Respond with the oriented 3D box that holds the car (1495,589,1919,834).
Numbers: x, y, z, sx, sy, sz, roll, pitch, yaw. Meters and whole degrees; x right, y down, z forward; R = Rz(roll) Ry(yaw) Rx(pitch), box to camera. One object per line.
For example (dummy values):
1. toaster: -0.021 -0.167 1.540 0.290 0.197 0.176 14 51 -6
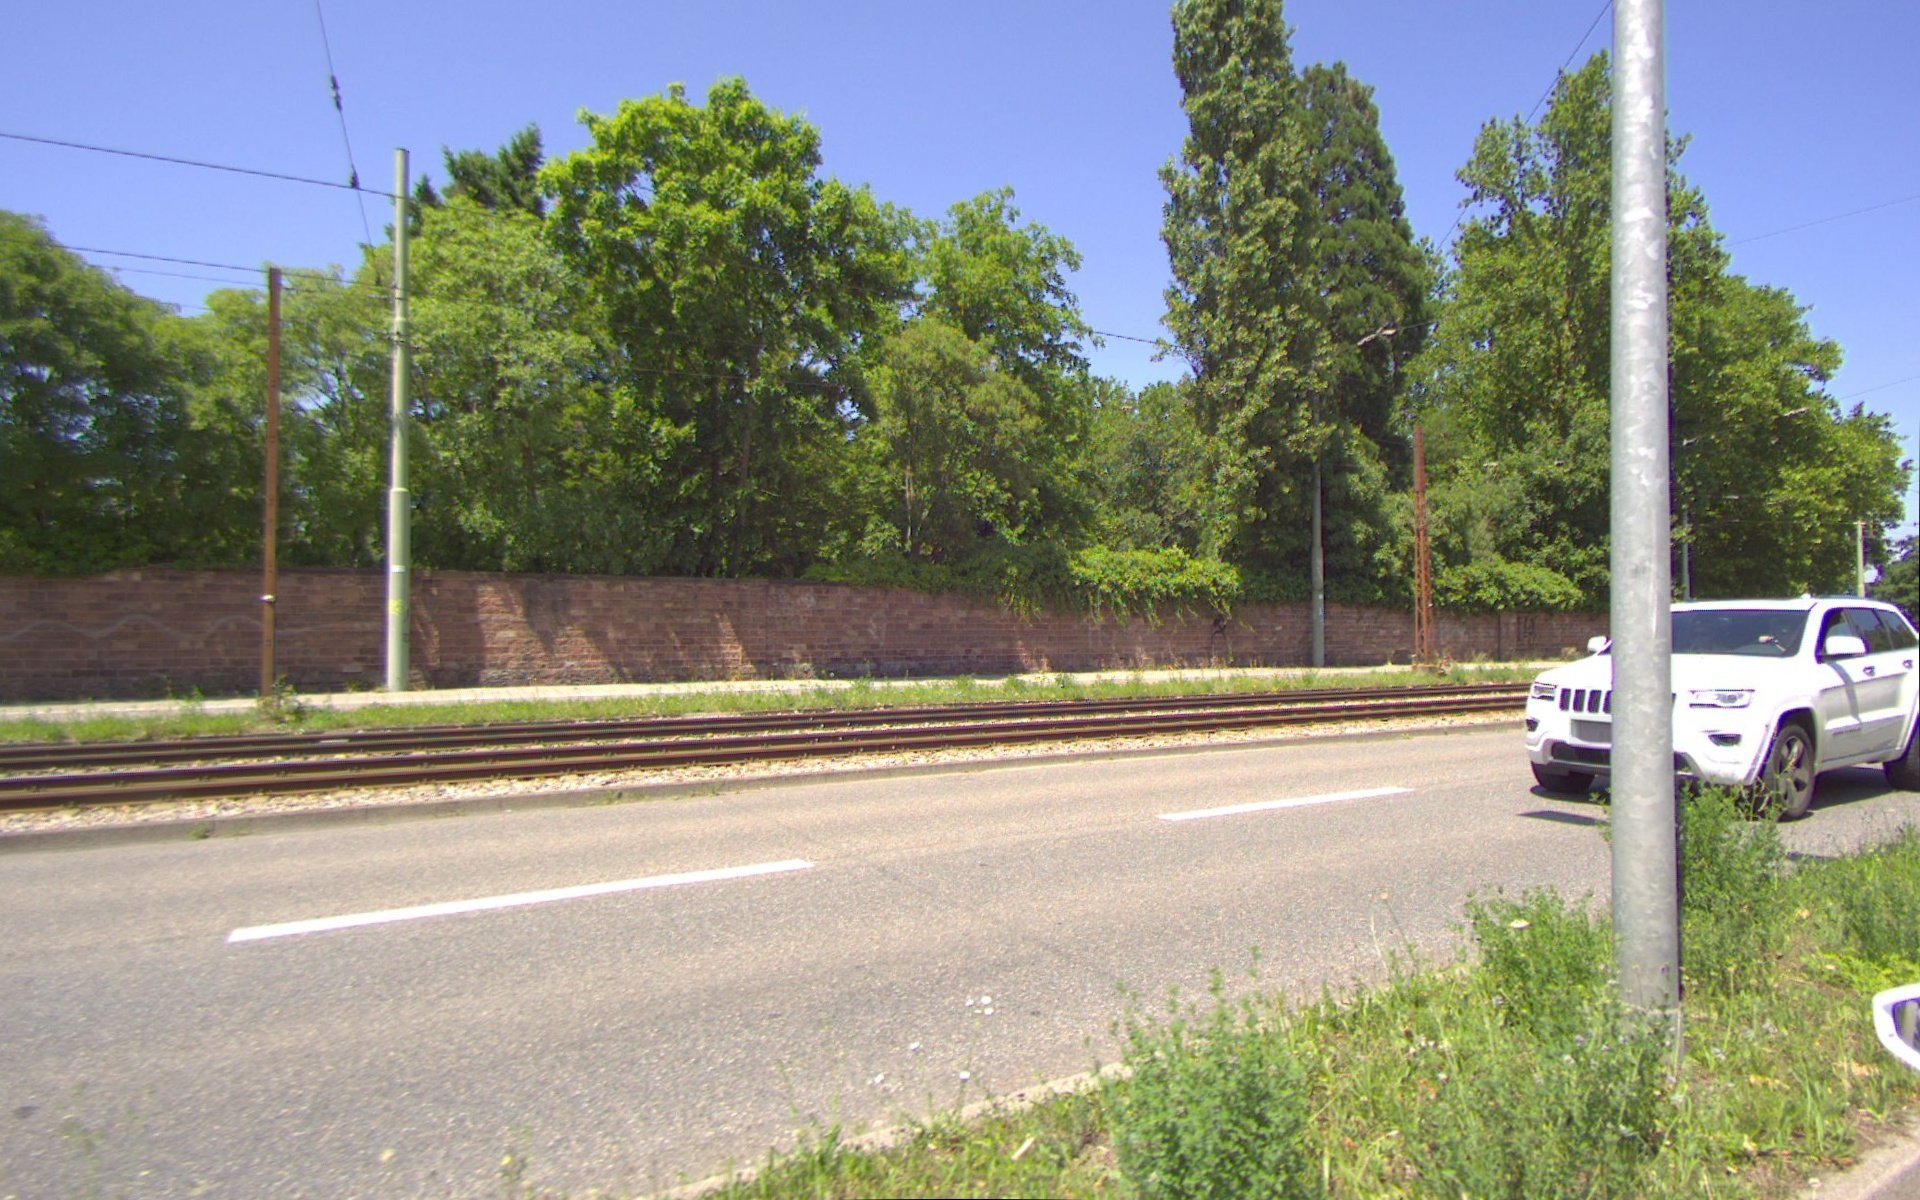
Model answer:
1. car: 7.206 0.875 9.285 4.534 1.771 1.891 1 -3 -31
